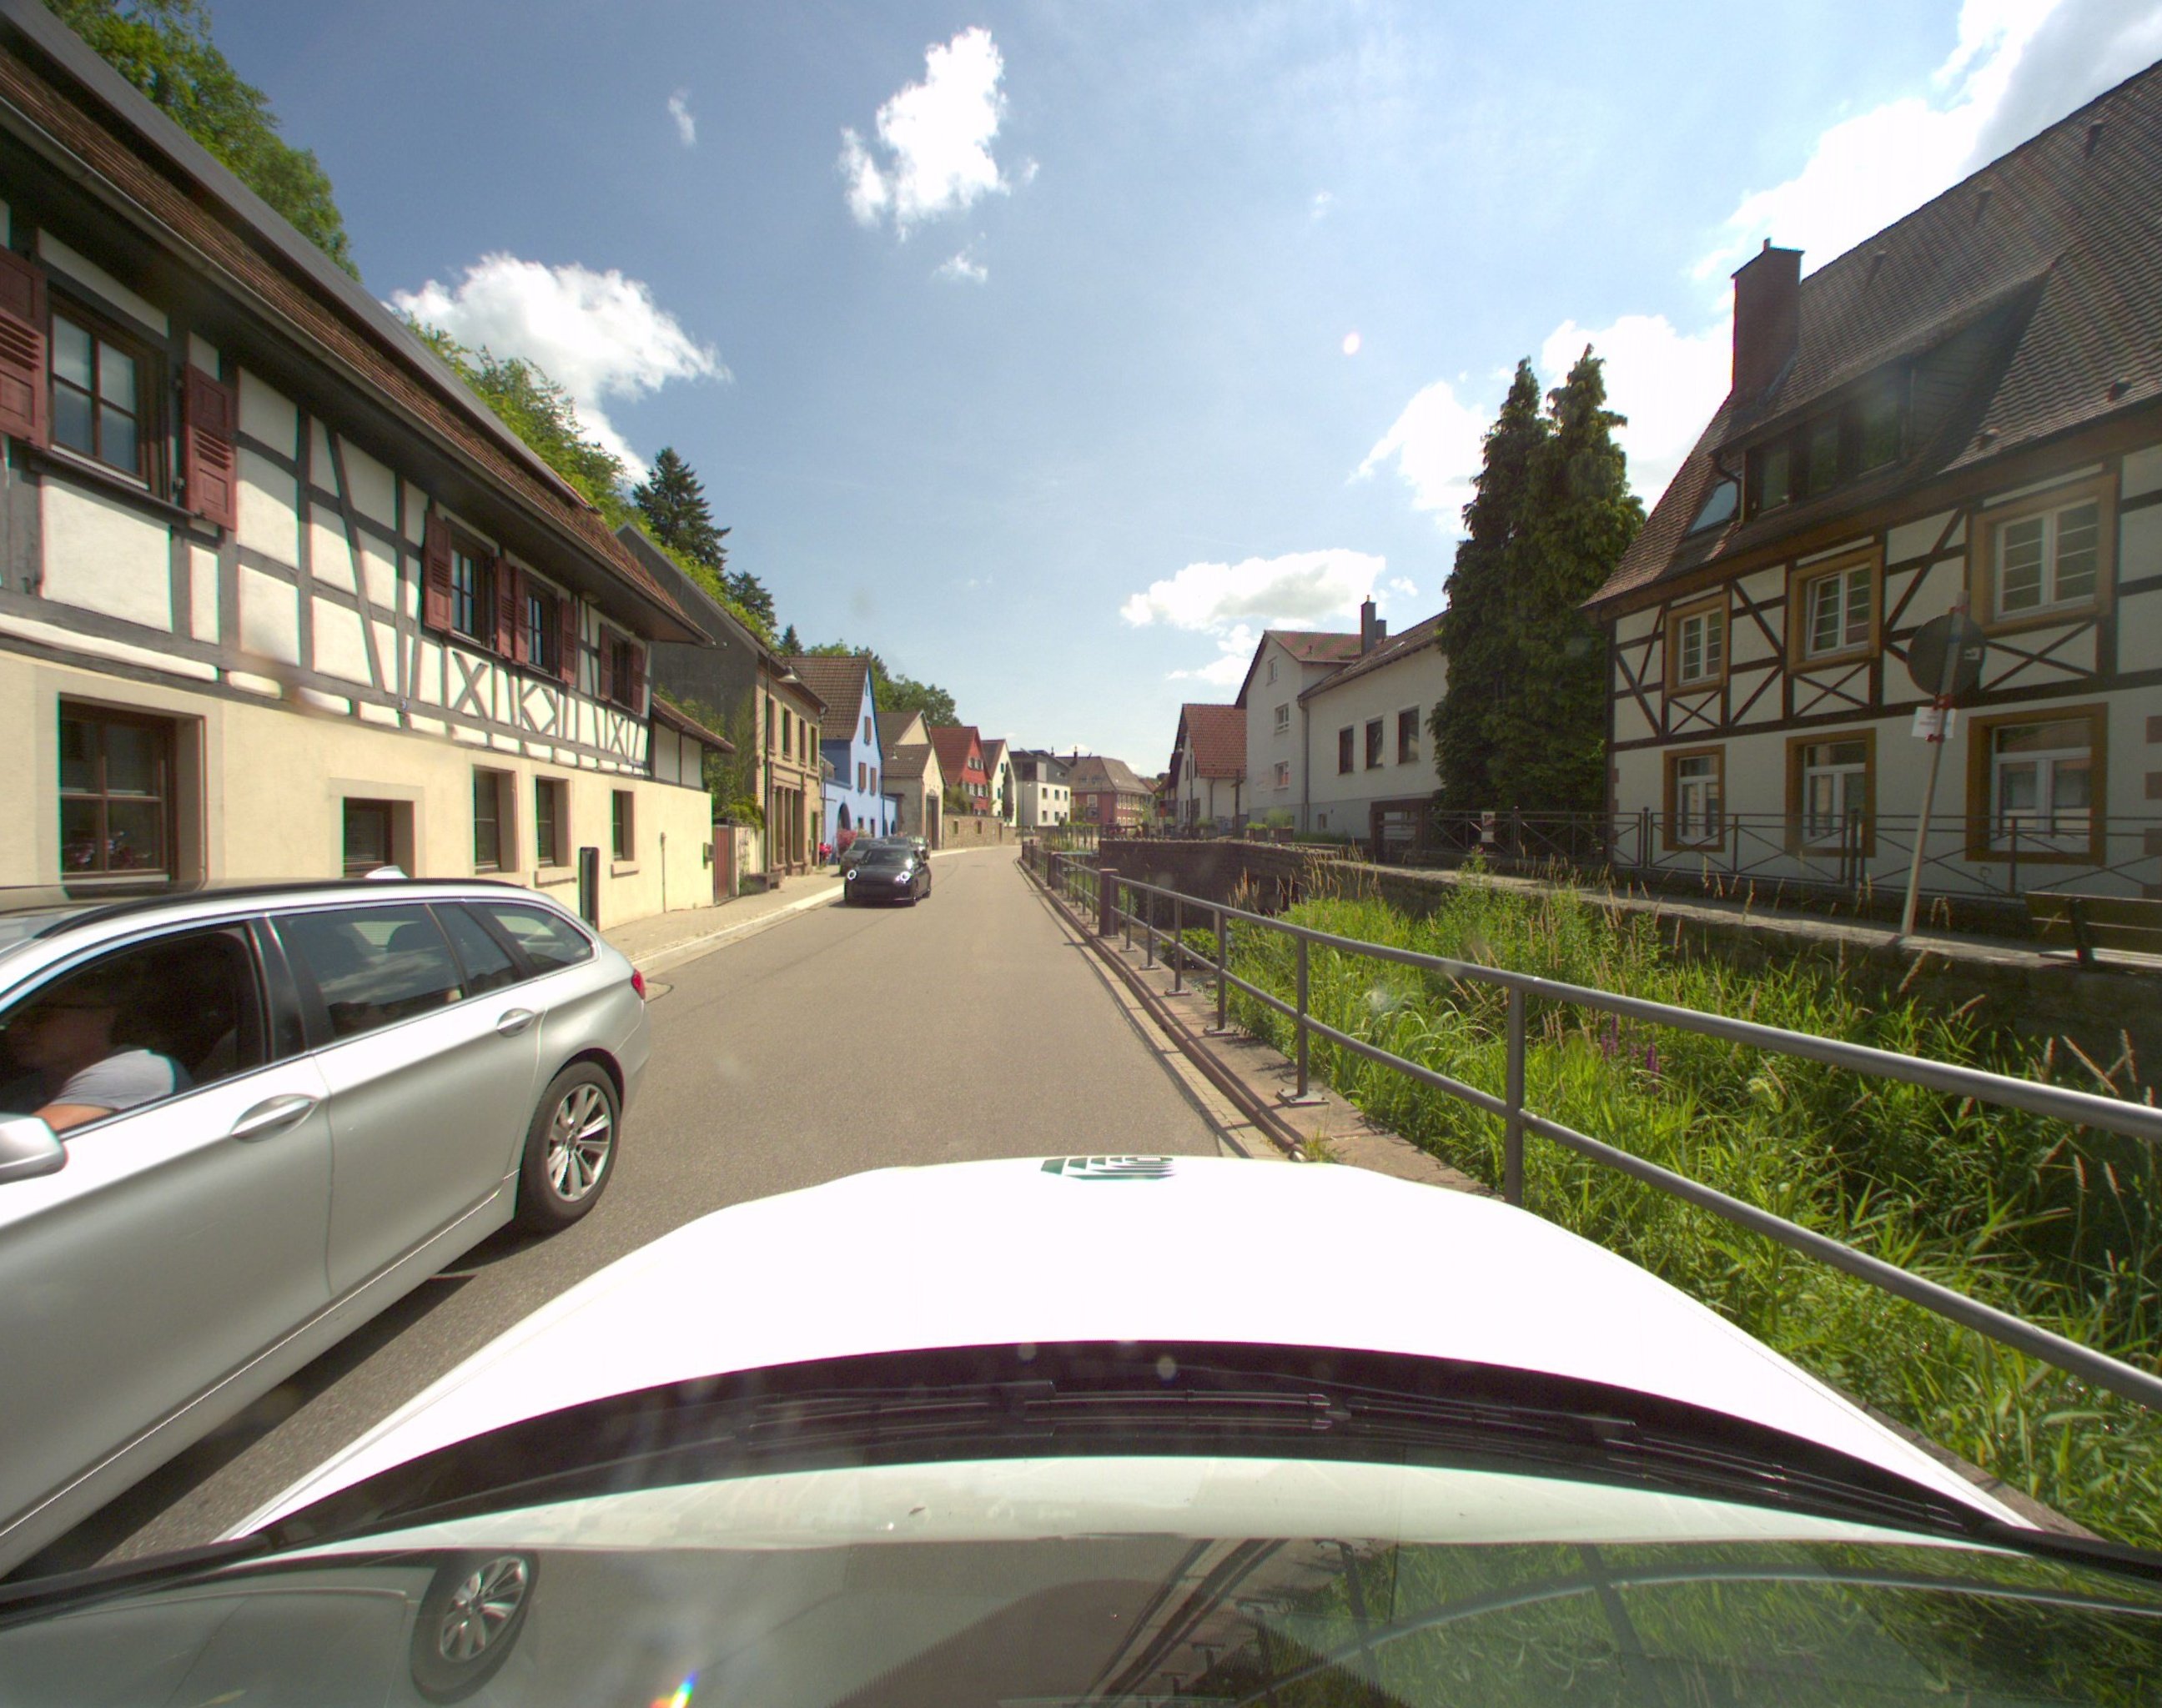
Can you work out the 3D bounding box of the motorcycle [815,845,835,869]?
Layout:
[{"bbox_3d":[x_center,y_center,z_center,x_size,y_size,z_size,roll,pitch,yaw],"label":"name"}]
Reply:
[{"bbox_3d":[-11.050,0.115,35.189,0.417,1.001,1.853,5,0,-8],"label":"motorcycle"}]

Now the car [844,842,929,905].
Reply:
[{"bbox_3d":[-4.961,0.446,21.293,1.697,1.465,4.424,0,0,-7],"label":"car"}]

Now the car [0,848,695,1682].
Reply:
[{"bbox_3d":[-2.949,0.762,2.075,1.891,1.500,4.609,-1,1,-3],"label":"car"}]

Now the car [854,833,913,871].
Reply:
[{"bbox_3d":[-8.960,-0.162,37.251,1.882,1.463,4.661,3,2,-5],"label":"car"}]

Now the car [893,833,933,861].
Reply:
[{"bbox_3d":[-9.770,-0.431,47.547,1.713,1.529,3.852,-1,2,-3],"label":"car"}]

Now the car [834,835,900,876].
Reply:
[{"bbox_3d":[-8.373,0.022,32.278,1.955,1.465,4.534,1,1,-8],"label":"car"}]

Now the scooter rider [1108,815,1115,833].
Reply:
[{"bbox_3d":[3.004,-2.899,79.603,0.640,1.731,0.553,1,1,-6],"label":"scooter rider"}]

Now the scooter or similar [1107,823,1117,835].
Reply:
[{"bbox_3d":[3.025,-2.409,79.579,0.640,1.142,1.808,-1,1,-6],"label":"scooter or similar"}]
